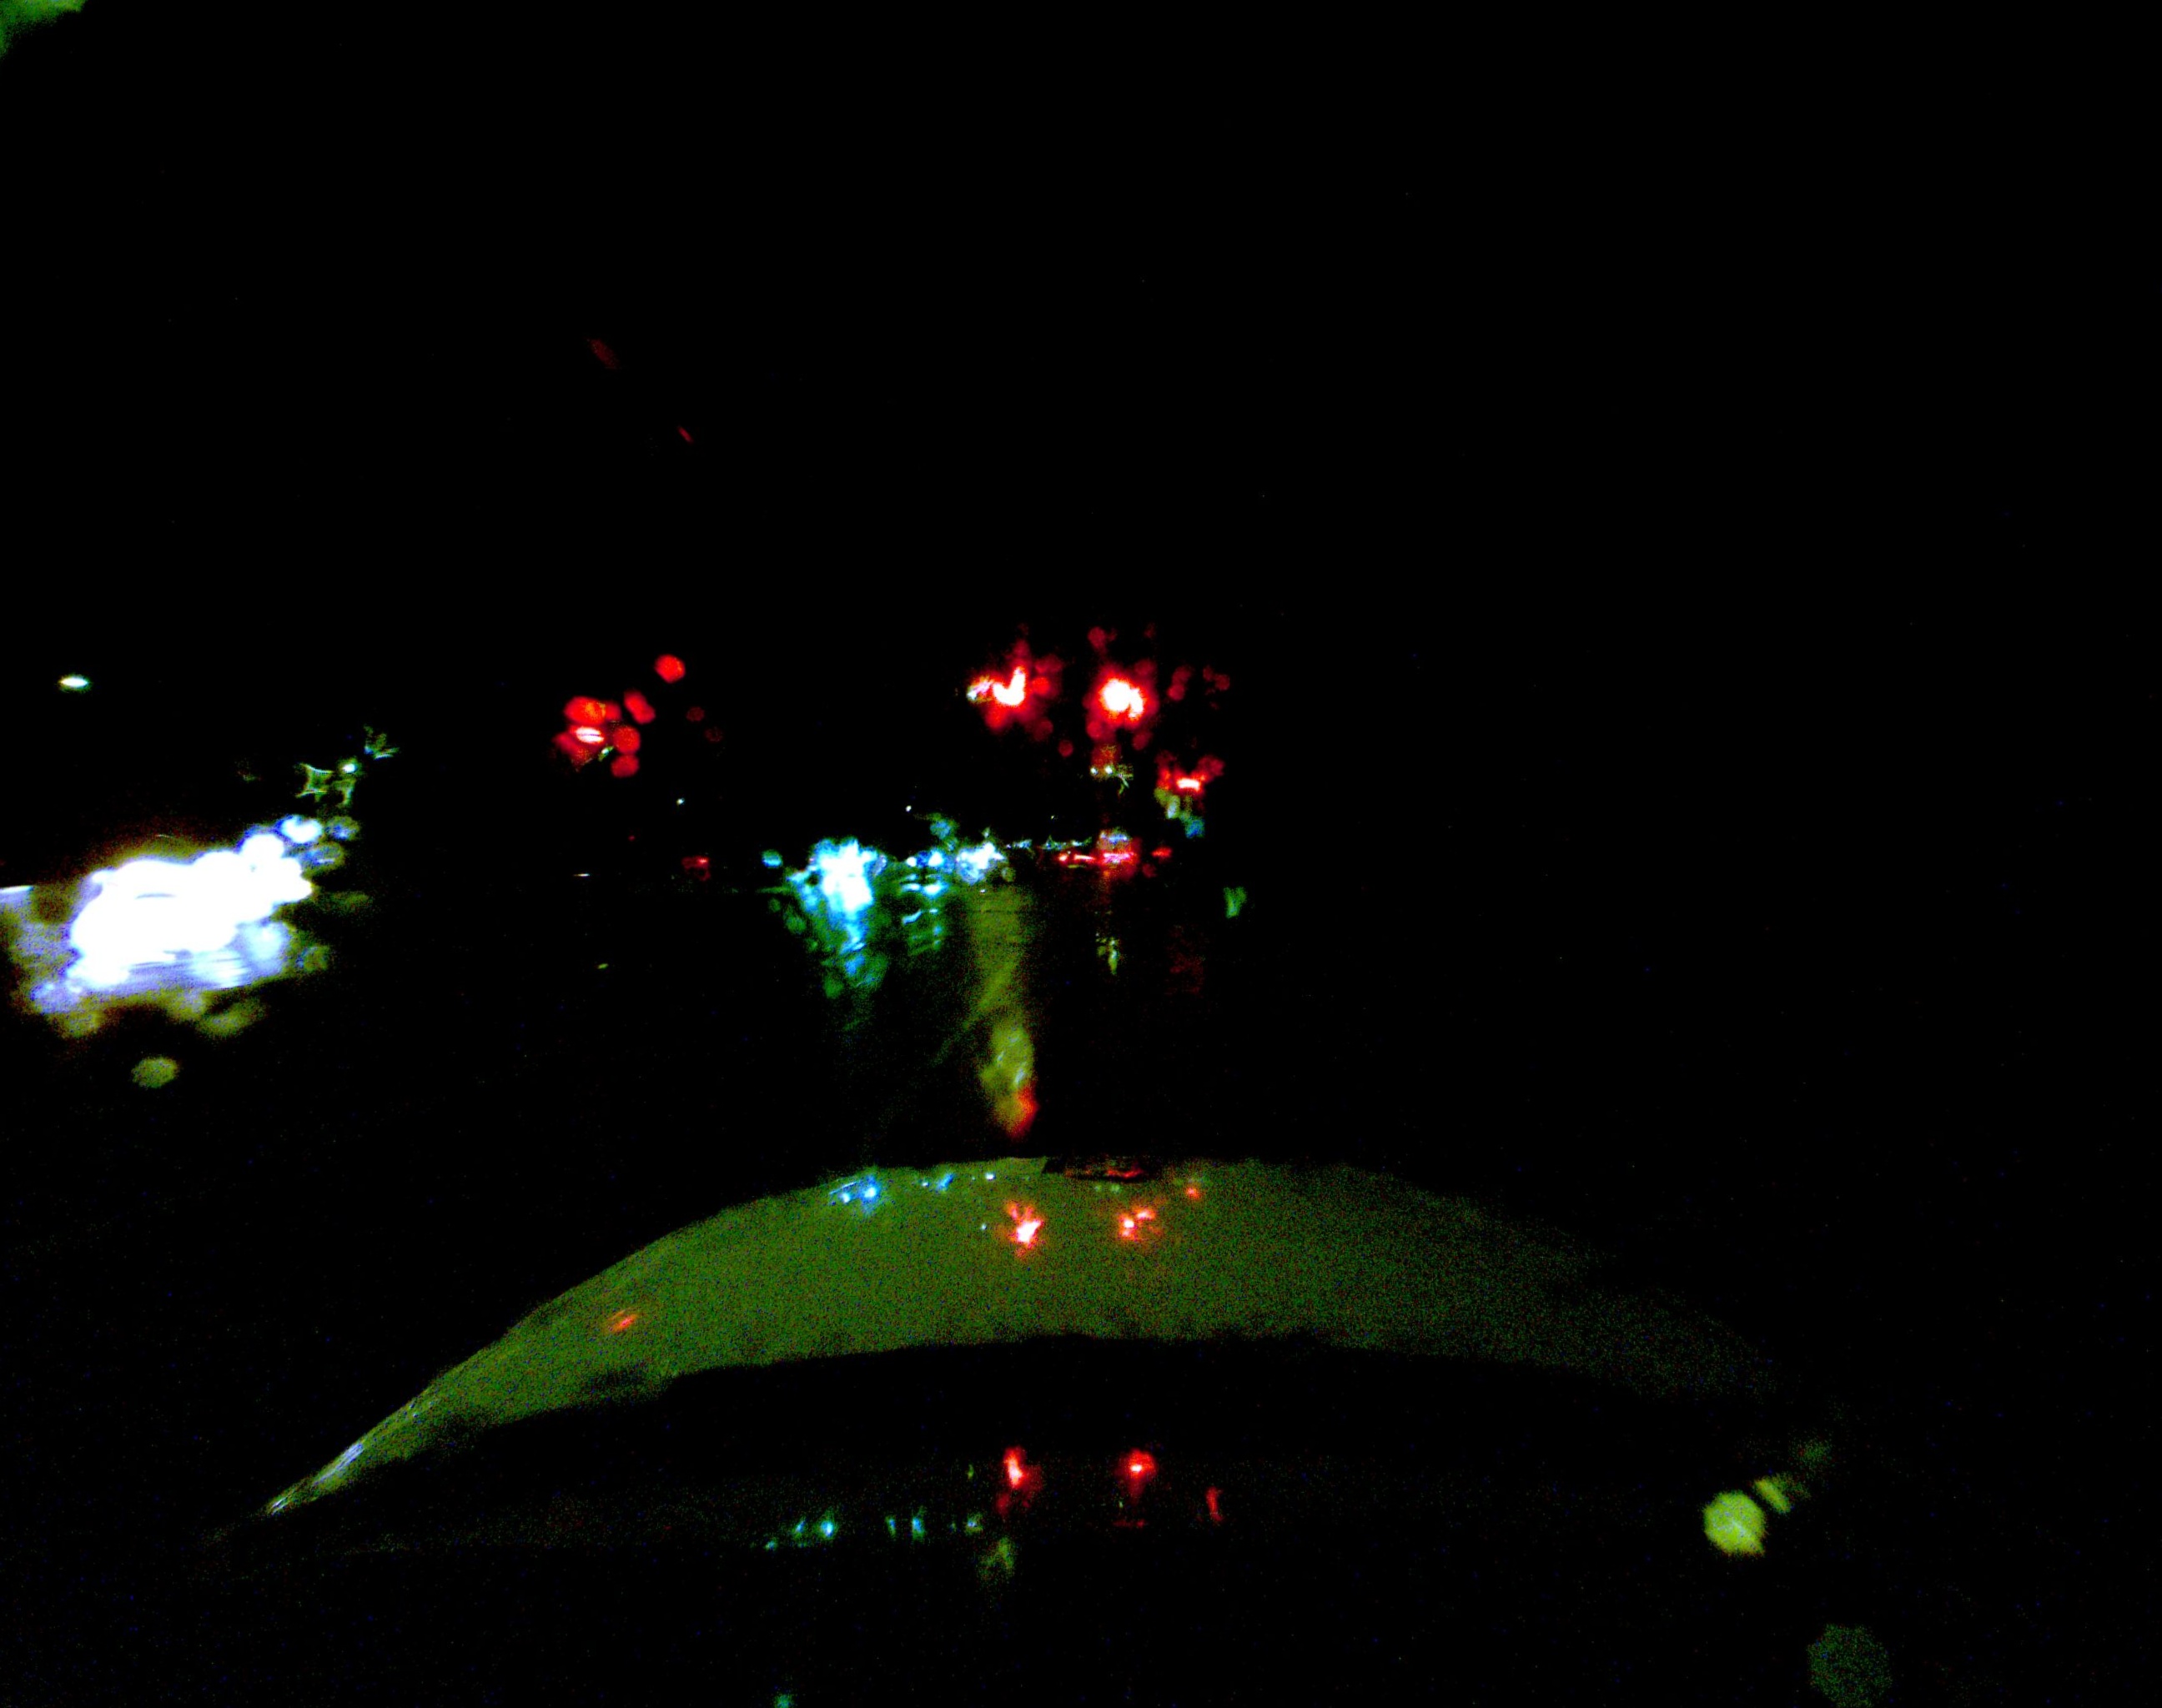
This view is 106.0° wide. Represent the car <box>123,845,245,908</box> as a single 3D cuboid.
[{"bbox_3d":[-26.009,0.625,23.585,4.449,1.653,1.724,-1,-1,34],"label":"car"}]

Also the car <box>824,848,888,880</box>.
[{"bbox_3d":[-11.789,0.461,42.992,1.785,1.571,4.918,-1,0,3],"label":"car"}]

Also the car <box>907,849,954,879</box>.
[{"bbox_3d":[-8.444,0.524,46.080,1.693,1.571,4.712,-1,0,0],"label":"car"}]

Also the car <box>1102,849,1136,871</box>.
[{"bbox_3d":[2.451,0.386,52.563,2.098,1.339,4.297,-1,-1,3],"label":"car"}]

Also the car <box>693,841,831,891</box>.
[{"bbox_3d":[-10.895,0.401,28.090,4.090,1.610,1.993,0,-1,-11],"label":"car"}]

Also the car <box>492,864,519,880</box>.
[{"bbox_3d":[-58.753,1.870,83.131,1.668,1.498,4.322,-4,0,-42],"label":"car"}]

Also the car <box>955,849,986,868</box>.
[{"bbox_3d":[-9.059,0.385,67.247,1.987,1.530,4.000,0,-1,0],"label":"car"}]

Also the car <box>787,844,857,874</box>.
[{"bbox_3d":[-16.969,0.275,53.439,4.016,1.831,1.704,-2,1,-34],"label":"car"}]

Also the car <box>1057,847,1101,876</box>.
[{"bbox_3d":[-0.065,0.415,43.026,2.094,1.439,4.003,-1,-1,3],"label":"car"}]

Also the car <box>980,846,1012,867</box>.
[{"bbox_3d":[-6.322,0.218,60.943,1.577,1.526,3.658,-1,-1,6],"label":"car"}]
